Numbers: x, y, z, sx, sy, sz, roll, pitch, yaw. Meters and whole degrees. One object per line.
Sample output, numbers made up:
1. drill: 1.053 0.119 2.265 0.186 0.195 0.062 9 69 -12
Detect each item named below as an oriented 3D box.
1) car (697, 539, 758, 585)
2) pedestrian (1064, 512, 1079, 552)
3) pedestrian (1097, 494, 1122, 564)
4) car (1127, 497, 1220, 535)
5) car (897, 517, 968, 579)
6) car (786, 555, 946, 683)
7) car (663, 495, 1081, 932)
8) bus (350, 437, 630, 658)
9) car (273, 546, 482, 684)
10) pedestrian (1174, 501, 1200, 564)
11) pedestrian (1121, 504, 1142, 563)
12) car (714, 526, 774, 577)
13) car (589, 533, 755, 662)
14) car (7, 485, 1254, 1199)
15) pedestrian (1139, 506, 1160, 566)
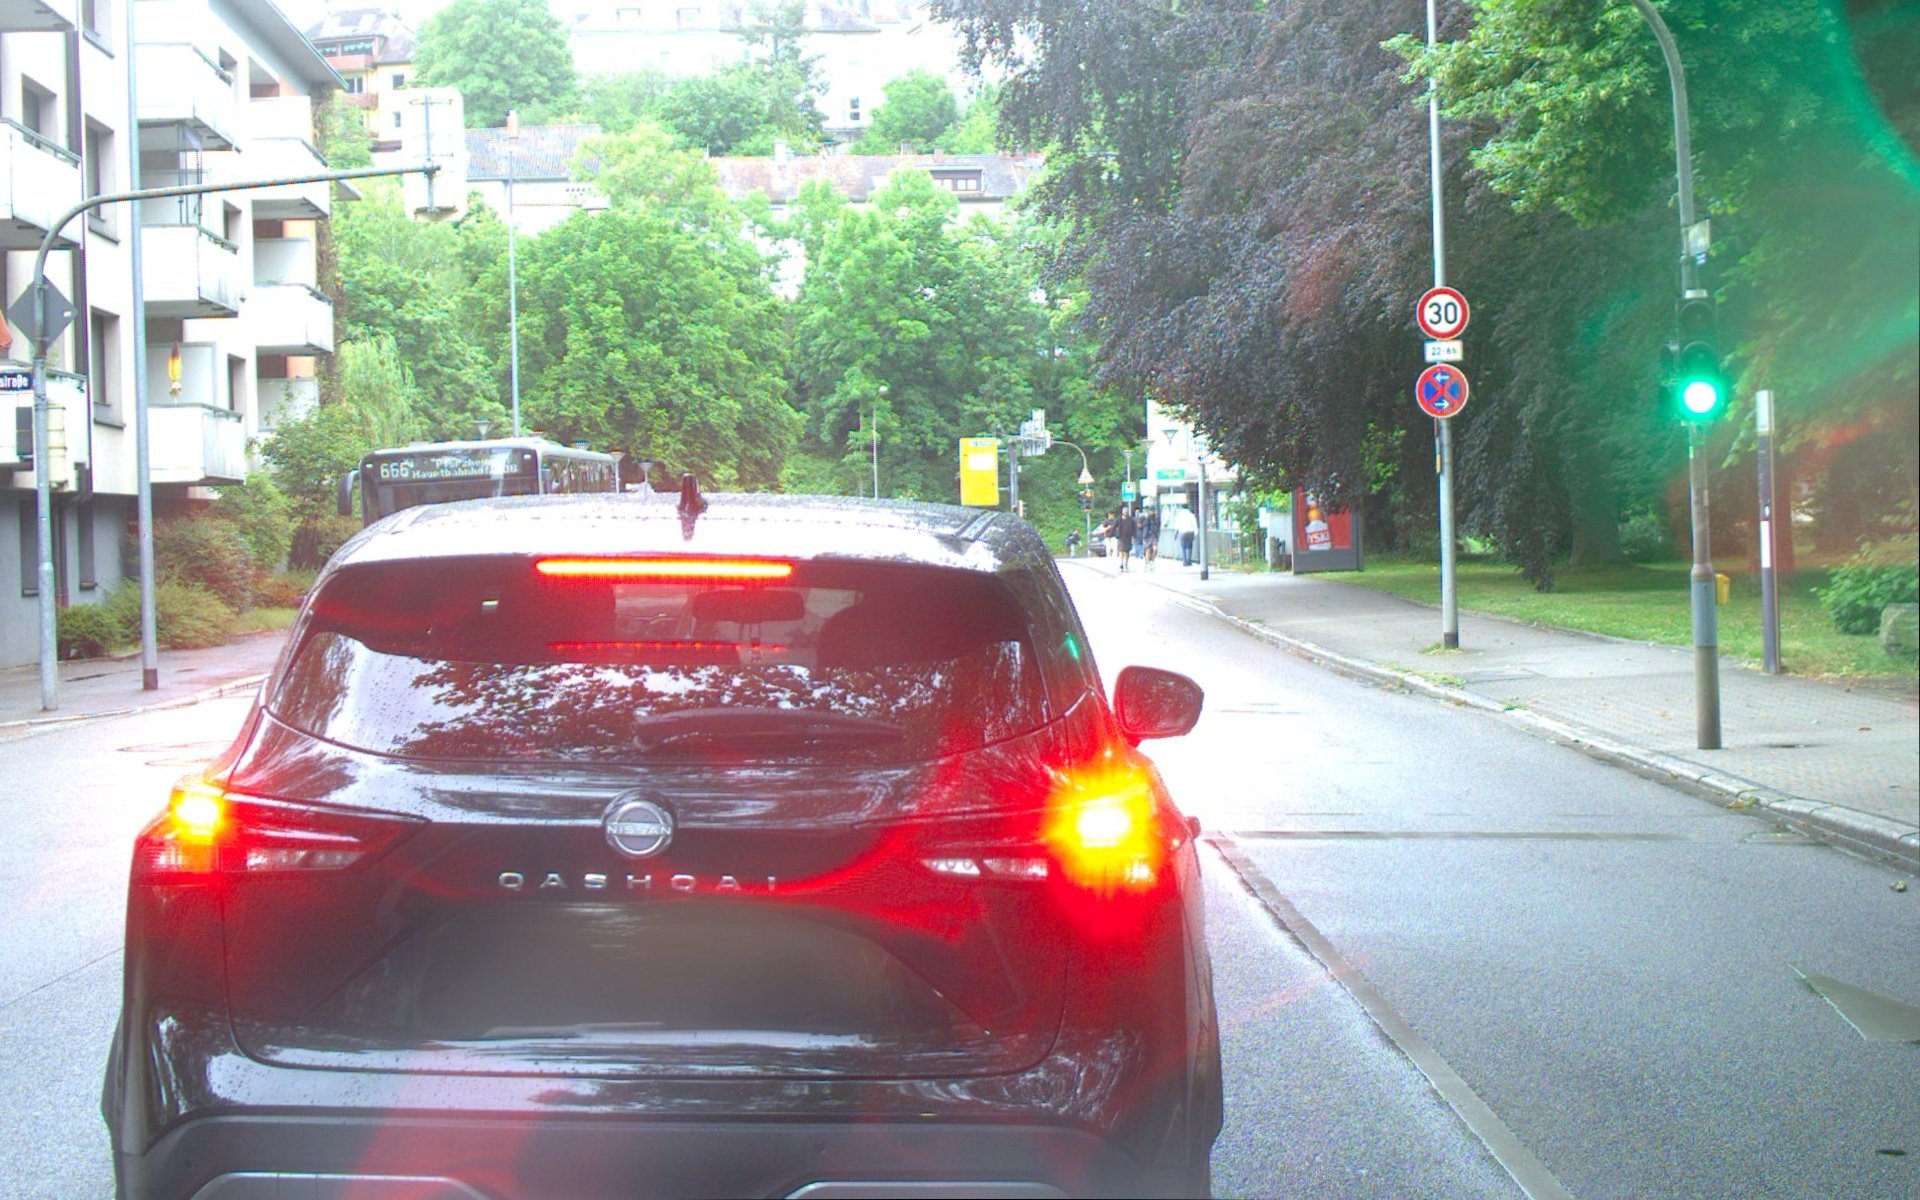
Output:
1. car: -7.128 -1.186 105.724 1.676 1.291 3.752 -3 1 -2
2. pedestrian: 5.590 -3.412 172.400 0.699 2.007 0.583 -2 1 -1
3. pedestrian: 4.690 -2.219 107.704 0.768 2.176 0.711 1 0 3
4. car: 10.193 -4.024 164.378 3.986 1.678 2.001 -2 1 -10
5. car: -0.657 -1.271 83.168 1.624 1.410 3.455 -2 1 0
6. car: -1.129 0.188 41.137 1.808 1.412 4.031 0 1 -2
7. car: -0.320 0.419 15.735 1.622 1.703 3.771 -2 1 1
8. bus: -7.039 -0.820 53.209 2.766 2.964 11.782 -2 1 -1
9. car: -6.776 0.134 40.357 1.808 1.412 4.031 -3 1 -2
10. pedestrian: 6.464 -1.923 98.000 0.618 1.773 0.778 -2 1 -1
11. pedestrian: 4.834 -1.870 96.973 0.544 1.645 0.490 1 0 0
12. car: -7.297 -1.661 116.179 1.750 1.628 3.635 -2 1 0
13. car: -3.372 -0.063 40.754 1.624 1.410 3.455 -2 1 0
14. car: -0.506 0.616 7.021 1.806 1.584 4.000 1 1 -1
15. pedestrian: 5.234 -1.758 95.061 0.514 1.650 0.550 1 0 -1
